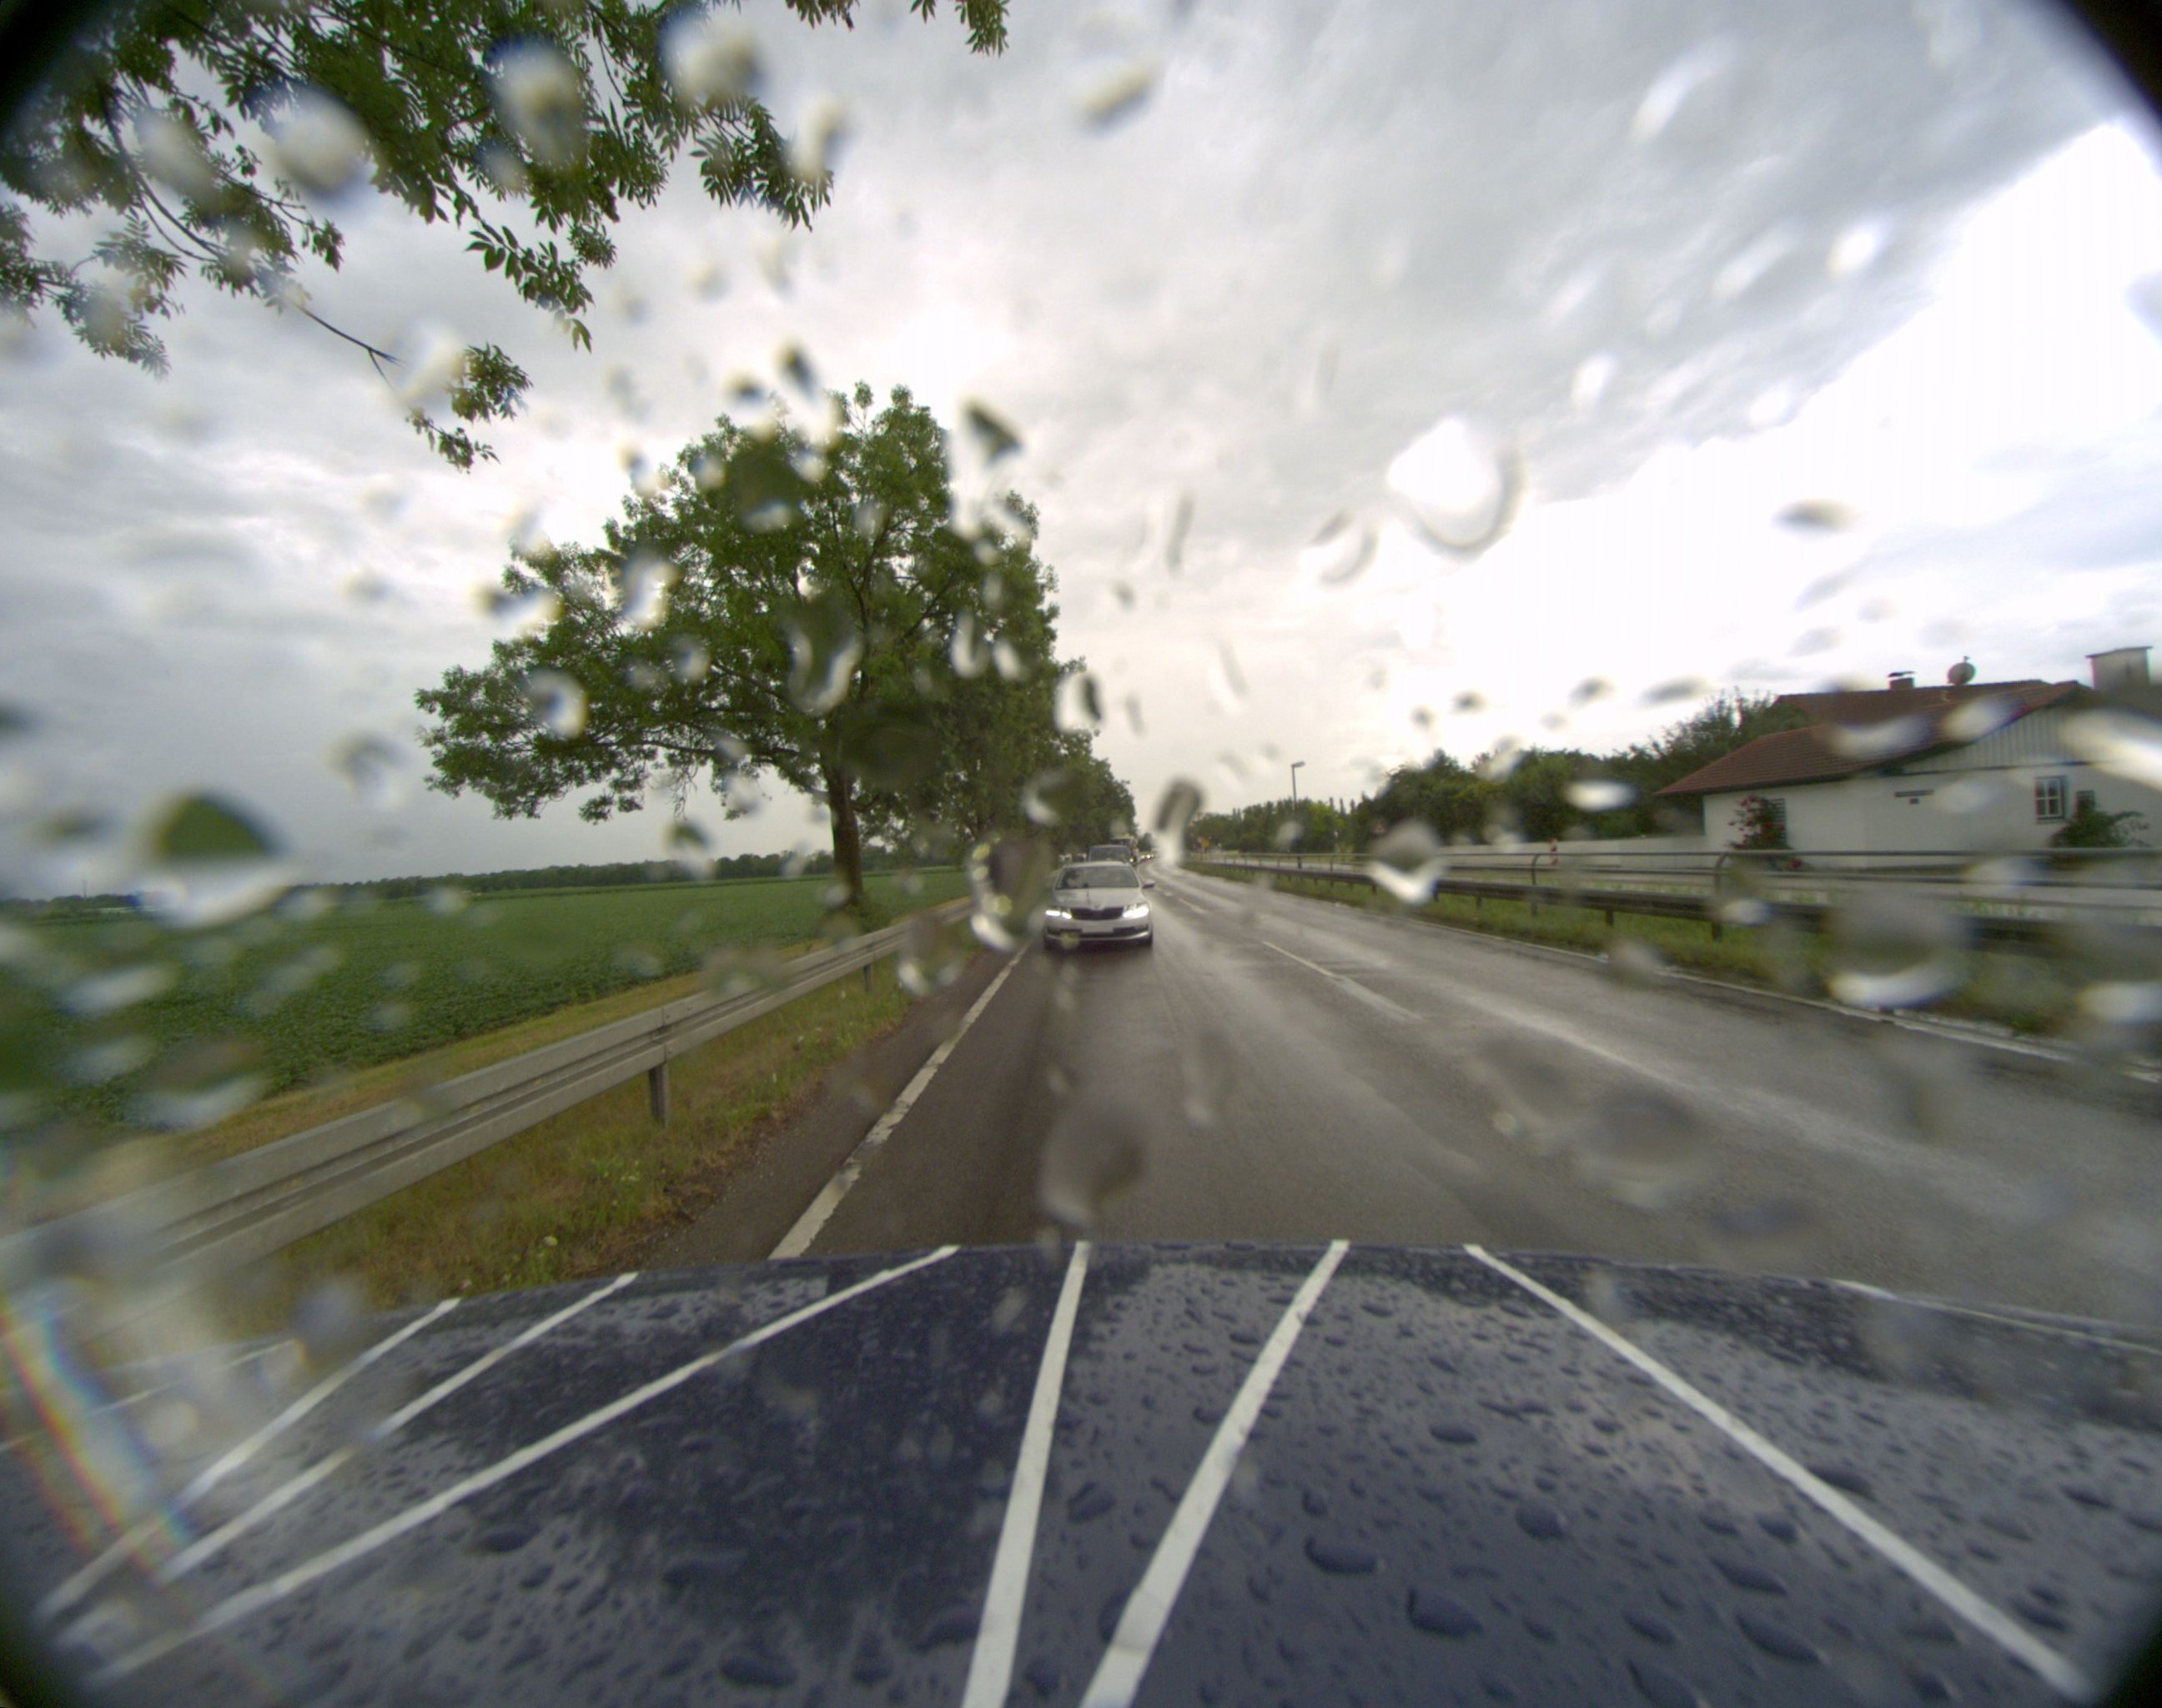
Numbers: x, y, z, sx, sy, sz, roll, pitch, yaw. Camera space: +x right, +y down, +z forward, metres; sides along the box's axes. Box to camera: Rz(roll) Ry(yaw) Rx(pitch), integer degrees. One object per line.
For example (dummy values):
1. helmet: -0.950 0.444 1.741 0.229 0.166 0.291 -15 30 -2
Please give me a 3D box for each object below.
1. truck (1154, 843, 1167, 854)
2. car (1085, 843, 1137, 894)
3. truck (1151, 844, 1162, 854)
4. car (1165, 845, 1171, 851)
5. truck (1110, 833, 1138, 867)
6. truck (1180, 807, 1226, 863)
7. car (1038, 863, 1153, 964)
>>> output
1. truck: 20.356 -1.394 194.808 2.800 2.461 7.169 -3 0 4
2. car: 1.159 0.543 30.920 1.903 1.884 4.000 -1 0 0
3. truck: 21.036 -1.360 212.105 2.800 2.461 7.169 -3 0 4
4. car: 29.548 -2.065 258.228 1.811 1.723 4.027 -3 0 1
5. truck: 4.842 -0.495 87.131 2.751 3.547 8.387 -3 0 2
6. truck: 11.853 -1.797 74.707 3.256 5.004 7.784 -4 0 2
7. car: 0.225 0.914 13.380 1.705 1.438 4.000 -1 0 0
